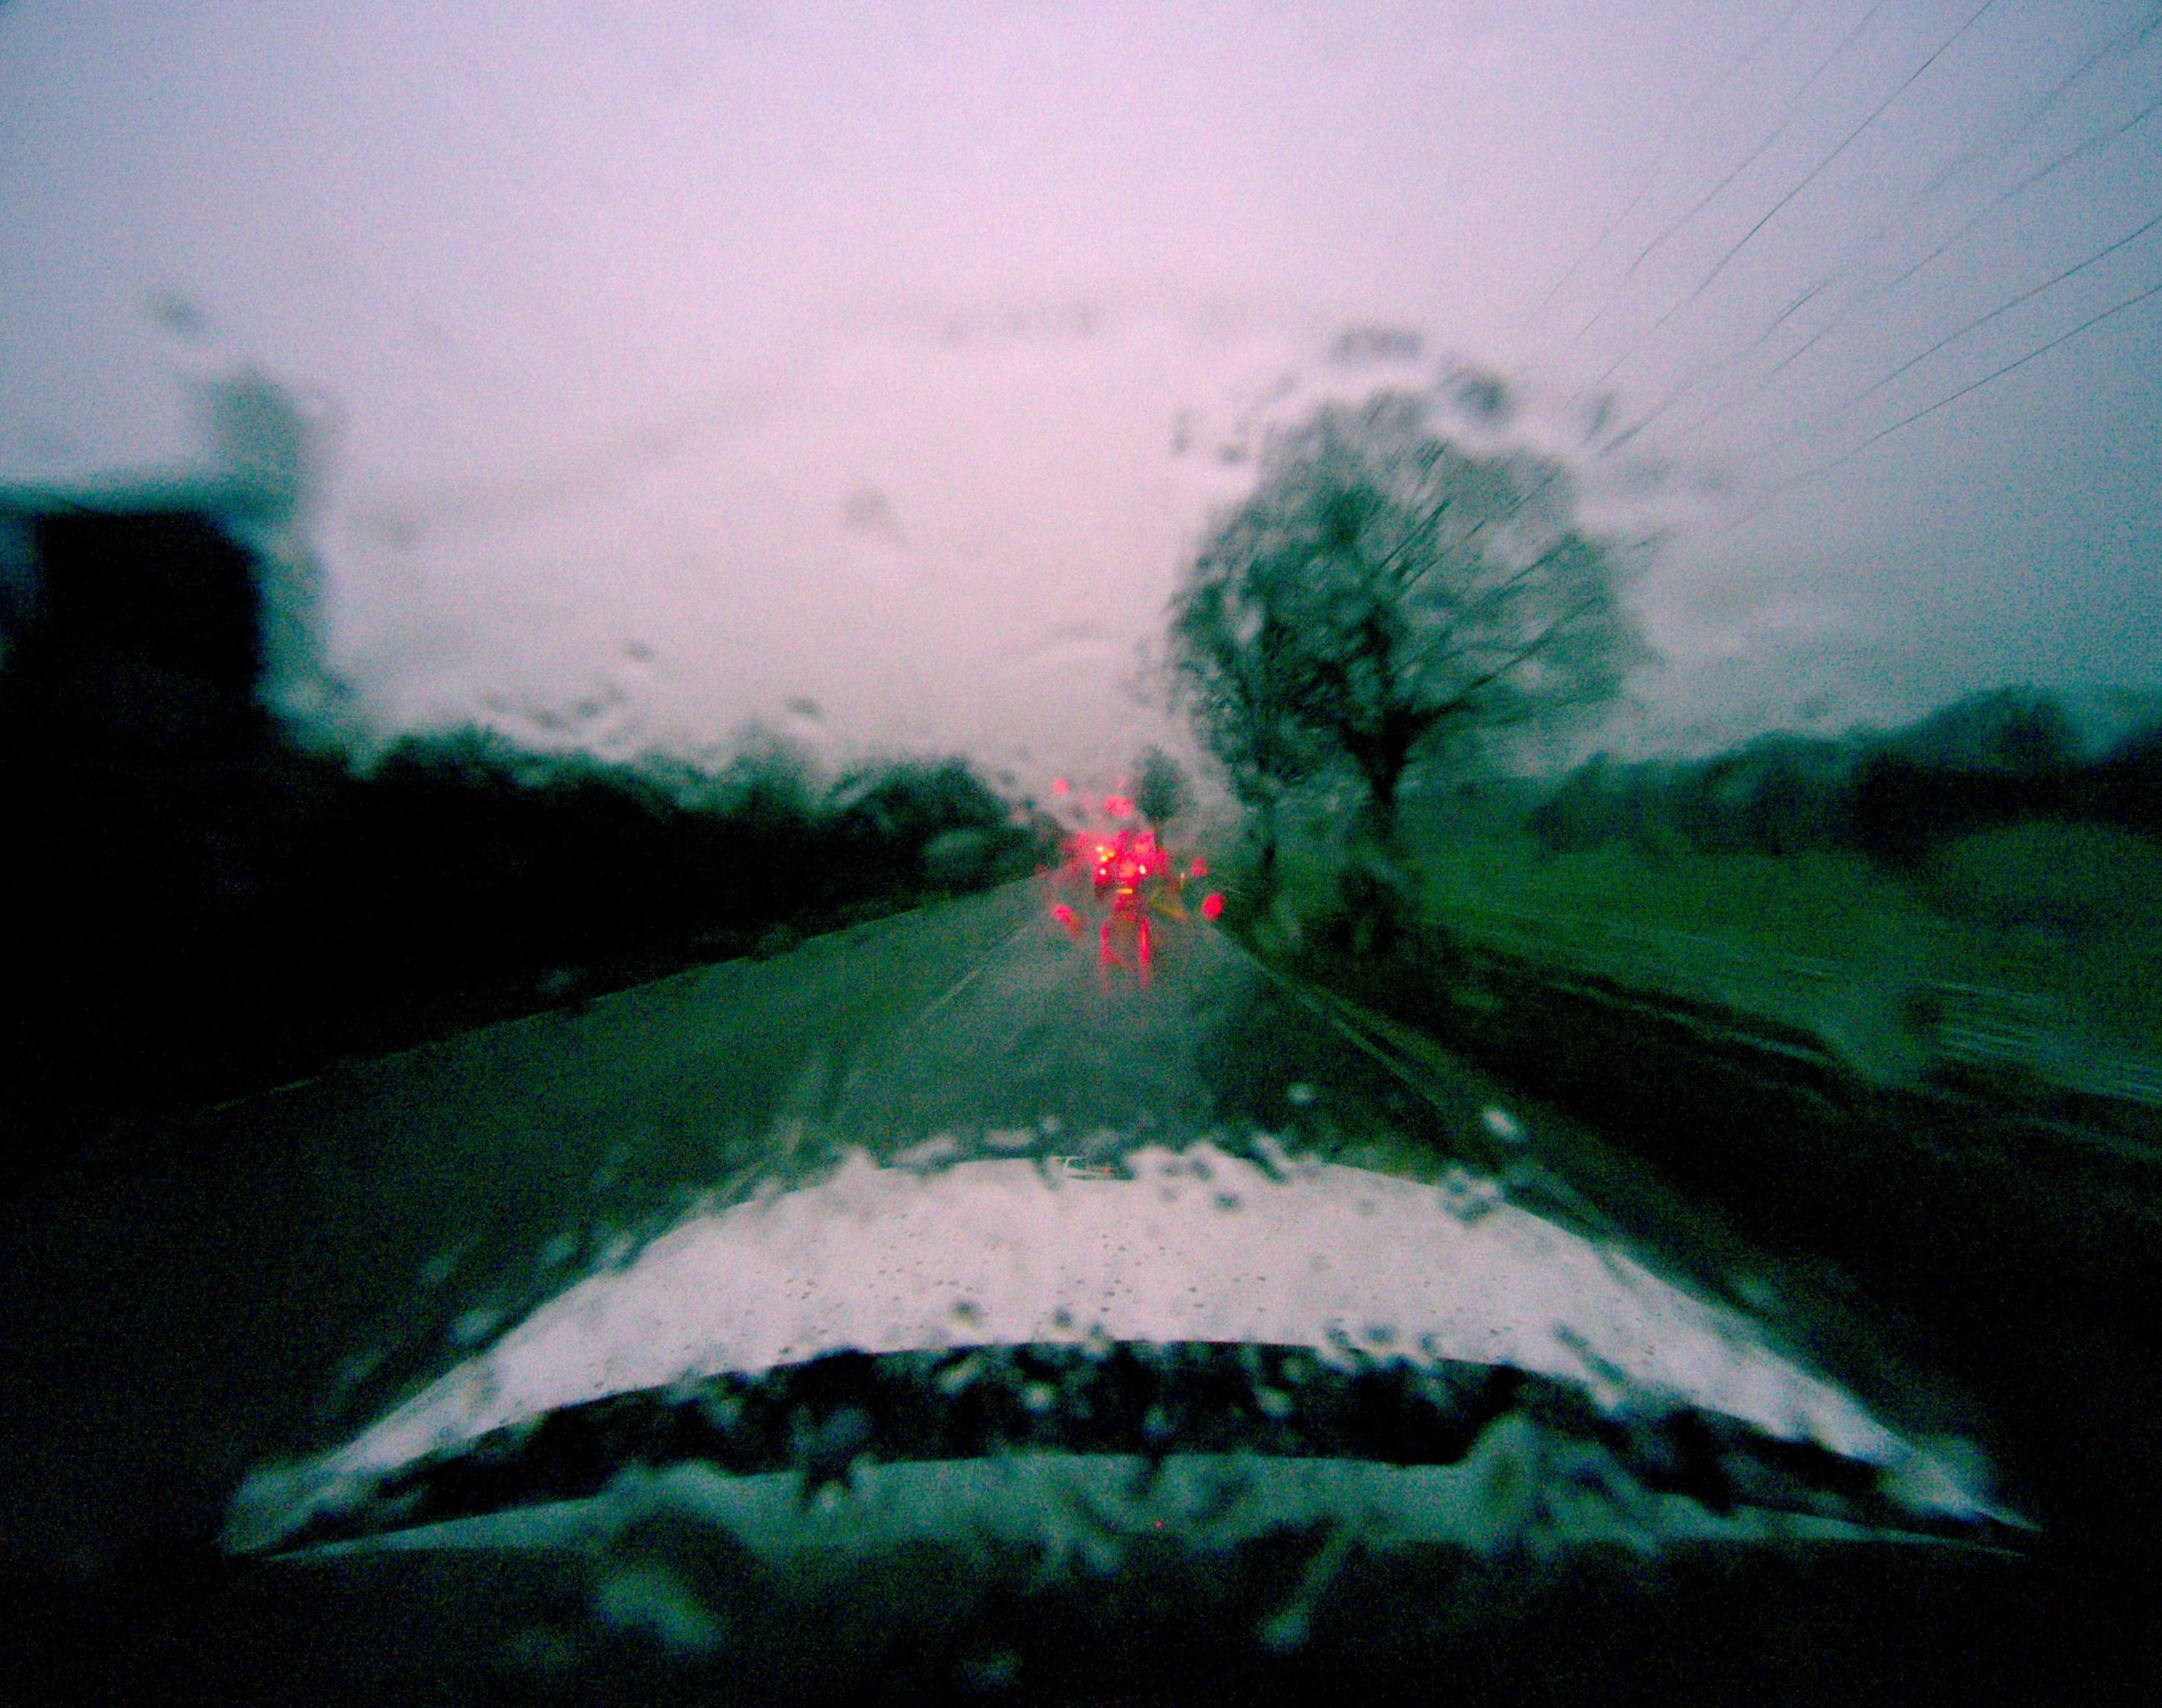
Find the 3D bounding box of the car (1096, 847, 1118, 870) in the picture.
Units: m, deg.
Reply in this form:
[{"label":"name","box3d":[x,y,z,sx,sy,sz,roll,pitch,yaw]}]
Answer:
[{"label":"car","box3d":[2.695,0.402,83.349,1.985,2.013,4.006,2,4,4]}]

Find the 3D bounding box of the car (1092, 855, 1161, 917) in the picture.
[{"label":"car","box3d":[1.416,0.947,25.951,1.986,1.752,4.002,-1,0,2]}]
